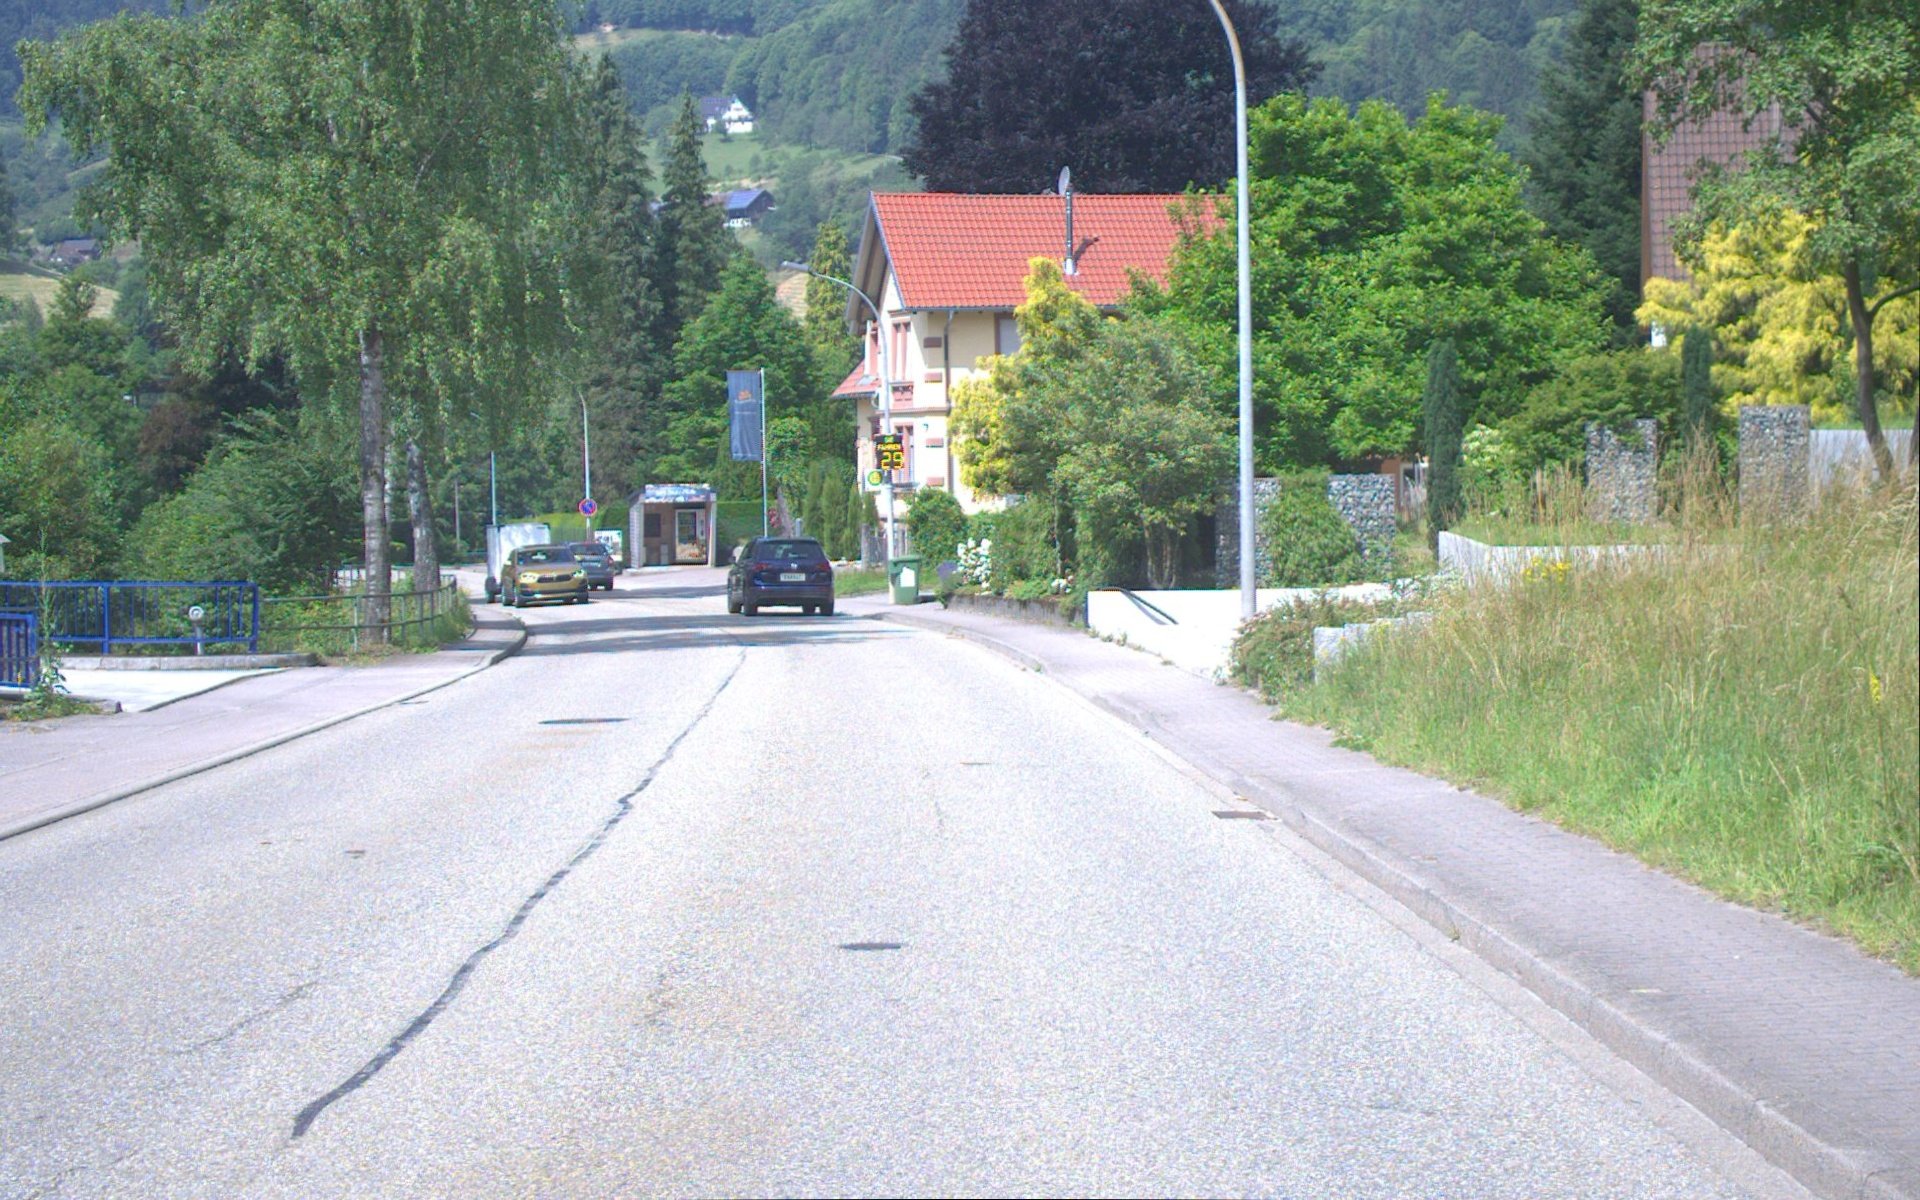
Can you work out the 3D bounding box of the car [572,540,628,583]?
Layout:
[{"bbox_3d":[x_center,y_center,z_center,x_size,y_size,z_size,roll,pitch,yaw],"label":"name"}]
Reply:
[{"bbox_3d":[-10.831,-1.161,103.521,1.477,1.205,2.384,-2,1,-2],"label":"car"}]

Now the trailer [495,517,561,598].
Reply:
[{"bbox_3d":[-11.451,-1.147,91.303,1.466,2.070,3.671,-2,1,-4],"label":"trailer"}]

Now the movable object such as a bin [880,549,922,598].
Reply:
[{"bbox_3d":[-1.294,-0.576,74.934,0.809,1.039,0.579,-2,2,-10],"label":"movable object such as a bin"}]

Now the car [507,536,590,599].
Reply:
[{"bbox_3d":[-10.387,-0.848,87.012,1.813,1.495,4.150,-2,1,-4],"label":"car"}]

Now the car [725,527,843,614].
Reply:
[{"bbox_3d":[-3.659,-0.626,70.808,1.919,1.692,3.789,-2,1,-10],"label":"car"}]
